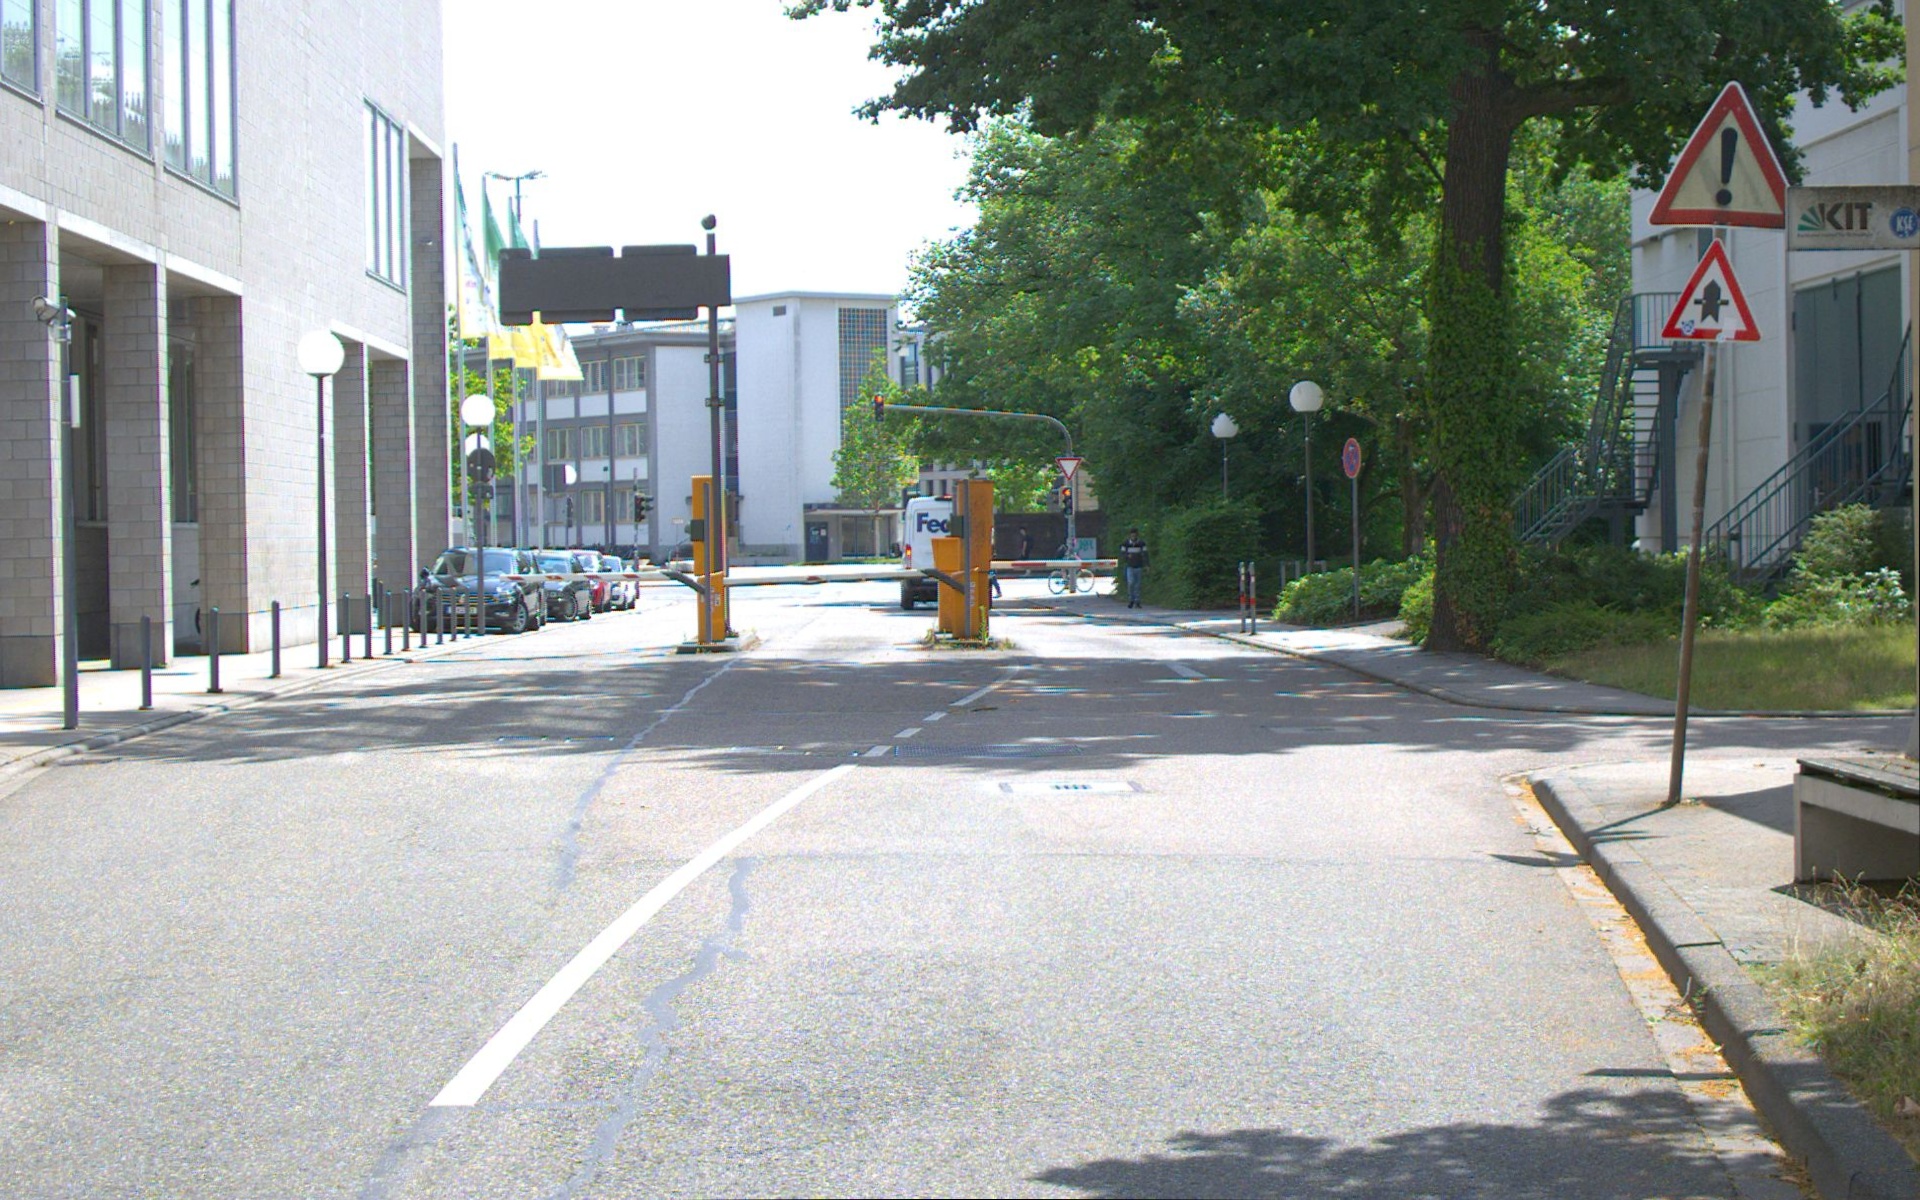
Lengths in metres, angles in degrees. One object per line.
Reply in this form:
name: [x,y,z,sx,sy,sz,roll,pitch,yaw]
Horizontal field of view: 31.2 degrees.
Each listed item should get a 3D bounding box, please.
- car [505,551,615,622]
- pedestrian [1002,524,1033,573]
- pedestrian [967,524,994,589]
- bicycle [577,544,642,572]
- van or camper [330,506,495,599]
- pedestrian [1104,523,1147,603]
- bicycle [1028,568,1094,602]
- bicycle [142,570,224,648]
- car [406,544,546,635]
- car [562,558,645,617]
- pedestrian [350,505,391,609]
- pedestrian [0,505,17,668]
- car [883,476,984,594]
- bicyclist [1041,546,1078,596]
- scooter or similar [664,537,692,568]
car: [-8.293,-0.302,71.607,1.859,1.373,5.017,1,1,-2]
pedestrian: [2.201,-1.977,131.367,1.080,1.864,0.832,-1,1,-3]
pedestrian: [0.597,-1.270,100.079,0.767,1.853,0.722,-1,1,0]
bicycle: [-16.831,-2.014,165.193,2.957,1.359,1.117,-1,1,-39]
van or camper: [-19.969,-1.745,125.585,5.710,3.248,2.356,-1,1,-4]
pedestrian: [3.492,-0.779,72.771,0.739,1.669,1.257,-1,1,-5]
bicycle: [3.063,-0.460,103.983,2.101,0.992,0.679,-1,1,-41]
bicycle: [-10.970,0.108,48.600,0.830,1.065,2.472,0,1,-6]
car: [-8.347,-0.214,59.592,1.859,1.462,4.719,1,1,-2]
car: [-9.072,-0.336,87.690,1.676,1.390,4.663,1,1,-1]
pedestrian: [-13.765,-1.005,80.261,0.757,2.414,0.738,-1,1,4]
pedestrian: [-11.417,-0.162,39.922,0.731,1.874,0.720,0,1,-1]
car: [-0.655,-1.492,78.761,2.095,2.558,5.603,-1,1,-2]
bicyclist: [3.007,-0.878,103.926,0.891,1.490,0.664,-1,1,-41]
scooter or similar: [-10.897,-1.844,132.985,0.716,1.174,2.726,-1,1,-12]
